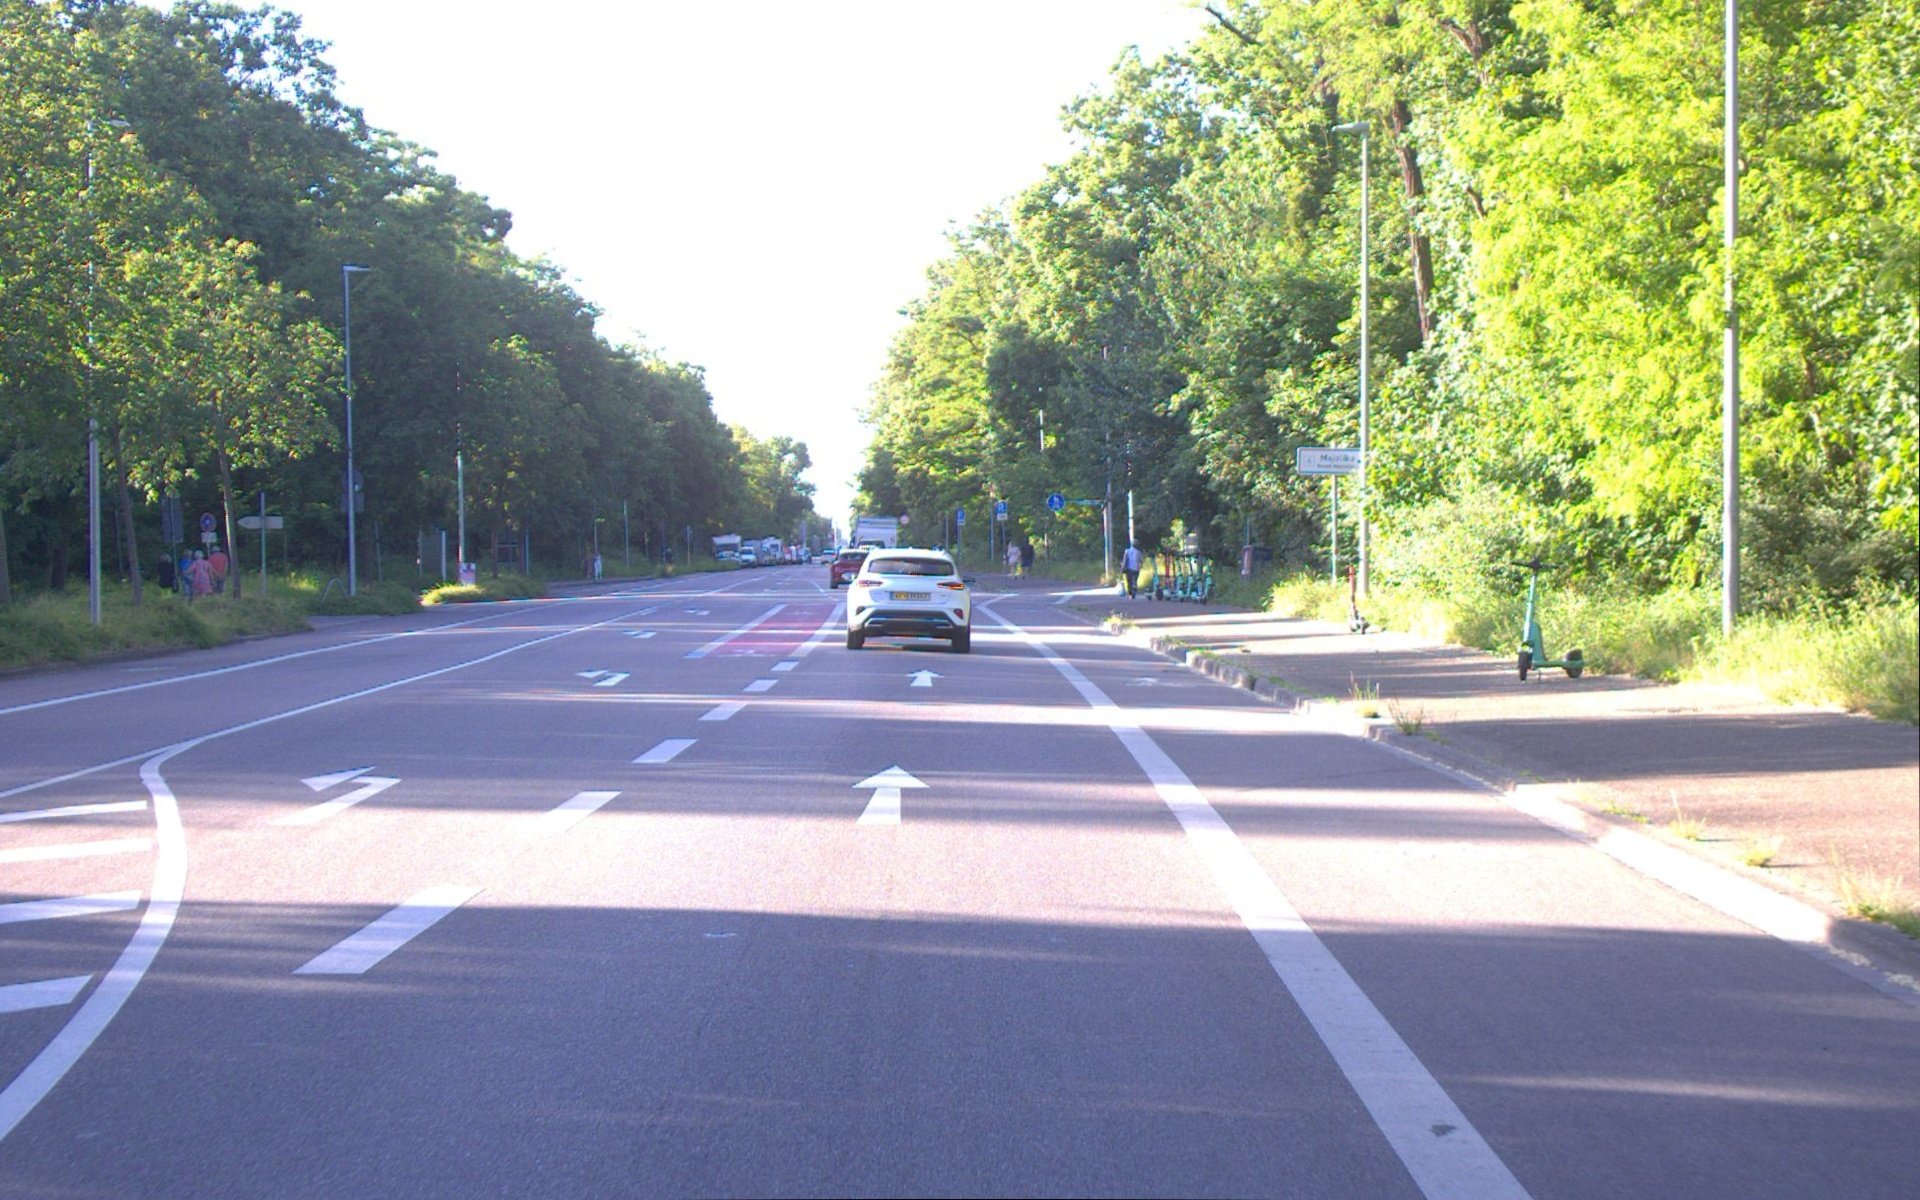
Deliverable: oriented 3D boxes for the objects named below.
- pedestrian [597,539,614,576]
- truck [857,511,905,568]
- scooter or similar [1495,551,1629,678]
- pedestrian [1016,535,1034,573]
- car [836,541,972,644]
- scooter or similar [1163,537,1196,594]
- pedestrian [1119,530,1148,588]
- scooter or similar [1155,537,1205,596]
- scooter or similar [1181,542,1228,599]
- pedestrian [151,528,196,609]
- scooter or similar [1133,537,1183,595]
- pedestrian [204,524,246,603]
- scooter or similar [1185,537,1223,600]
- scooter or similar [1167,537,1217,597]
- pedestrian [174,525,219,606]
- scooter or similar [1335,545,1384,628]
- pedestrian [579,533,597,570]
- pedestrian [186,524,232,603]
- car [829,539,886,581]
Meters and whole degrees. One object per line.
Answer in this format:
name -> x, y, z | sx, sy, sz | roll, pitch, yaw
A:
pedestrian -> -19.364, -2.336, 187.792 | 0.831, 2.007, 1.269 | -1, 1, -2
truck -> -5.093, -3.906, 220.423 | 2.799, 3.558, 8.036 | 1, 1, -3
scooter or similar -> 6.144, 0.139, 35.054 | 1.537, 1.245, 0.534 | -2, 1, -44
pedestrian -> 2.793, -1.990, 148.576 | 0.698, 1.647, 0.876 | -1, 1, -2
car -> -0.875, -0.139, 51.430 | 1.761, 1.454, 3.818 | 1, 1, -5
scooter or similar -> 5.587, -0.893, 87.682 | 0.682, 1.418, 1.682 | -1, 1, -1
pedestrian -> 4.700, -1.118, 93.047 | 0.755, 1.558, 0.802 | -1, 1, 4
scooter or similar -> 5.409, -0.831, 84.690 | 0.682, 1.418, 1.682 | -1, 1, -17
scooter or similar -> 5.725, -0.698, 80.524 | 0.465, 1.302, 1.481 | -1, 1, -23
pedestrian -> -19.588, -0.788, 85.614 | 0.718, 2.007, 0.795 | 0, 1, 33
scooter or similar -> 4.969, -0.853, 86.365 | 0.682, 1.418, 1.682 | -1, 1, -17
pedestrian -> -18.856, -0.949, 88.192 | 0.718, 2.007, 0.746 | 0, 1, 30
scooter or similar -> 5.586, -0.722, 78.668 | 0.682, 1.418, 1.682 | -1, 1, -1
scooter or similar -> 5.571, -0.797, 82.619 | 0.682, 1.418, 1.682 | -1, 1, -15
pedestrian -> -19.158, -0.861, 86.312 | 0.718, 2.007, 0.795 | 0, 1, 33
scooter or similar -> 6.148, -0.211, 52.907 | 0.533, 1.245, 1.541 | -1, 1, -1
pedestrian -> -20.327, -2.661, 187.765 | 0.863, 2.007, 1.269 | -1, 1, -1
pedestrian -> -19.227, -0.940, 88.033 | 0.718, 2.007, 0.873 | 0, 1, 30
car -> -3.758, -1.492, 126.746 | 1.993, 1.514, 4.000 | -1, 1, -1
